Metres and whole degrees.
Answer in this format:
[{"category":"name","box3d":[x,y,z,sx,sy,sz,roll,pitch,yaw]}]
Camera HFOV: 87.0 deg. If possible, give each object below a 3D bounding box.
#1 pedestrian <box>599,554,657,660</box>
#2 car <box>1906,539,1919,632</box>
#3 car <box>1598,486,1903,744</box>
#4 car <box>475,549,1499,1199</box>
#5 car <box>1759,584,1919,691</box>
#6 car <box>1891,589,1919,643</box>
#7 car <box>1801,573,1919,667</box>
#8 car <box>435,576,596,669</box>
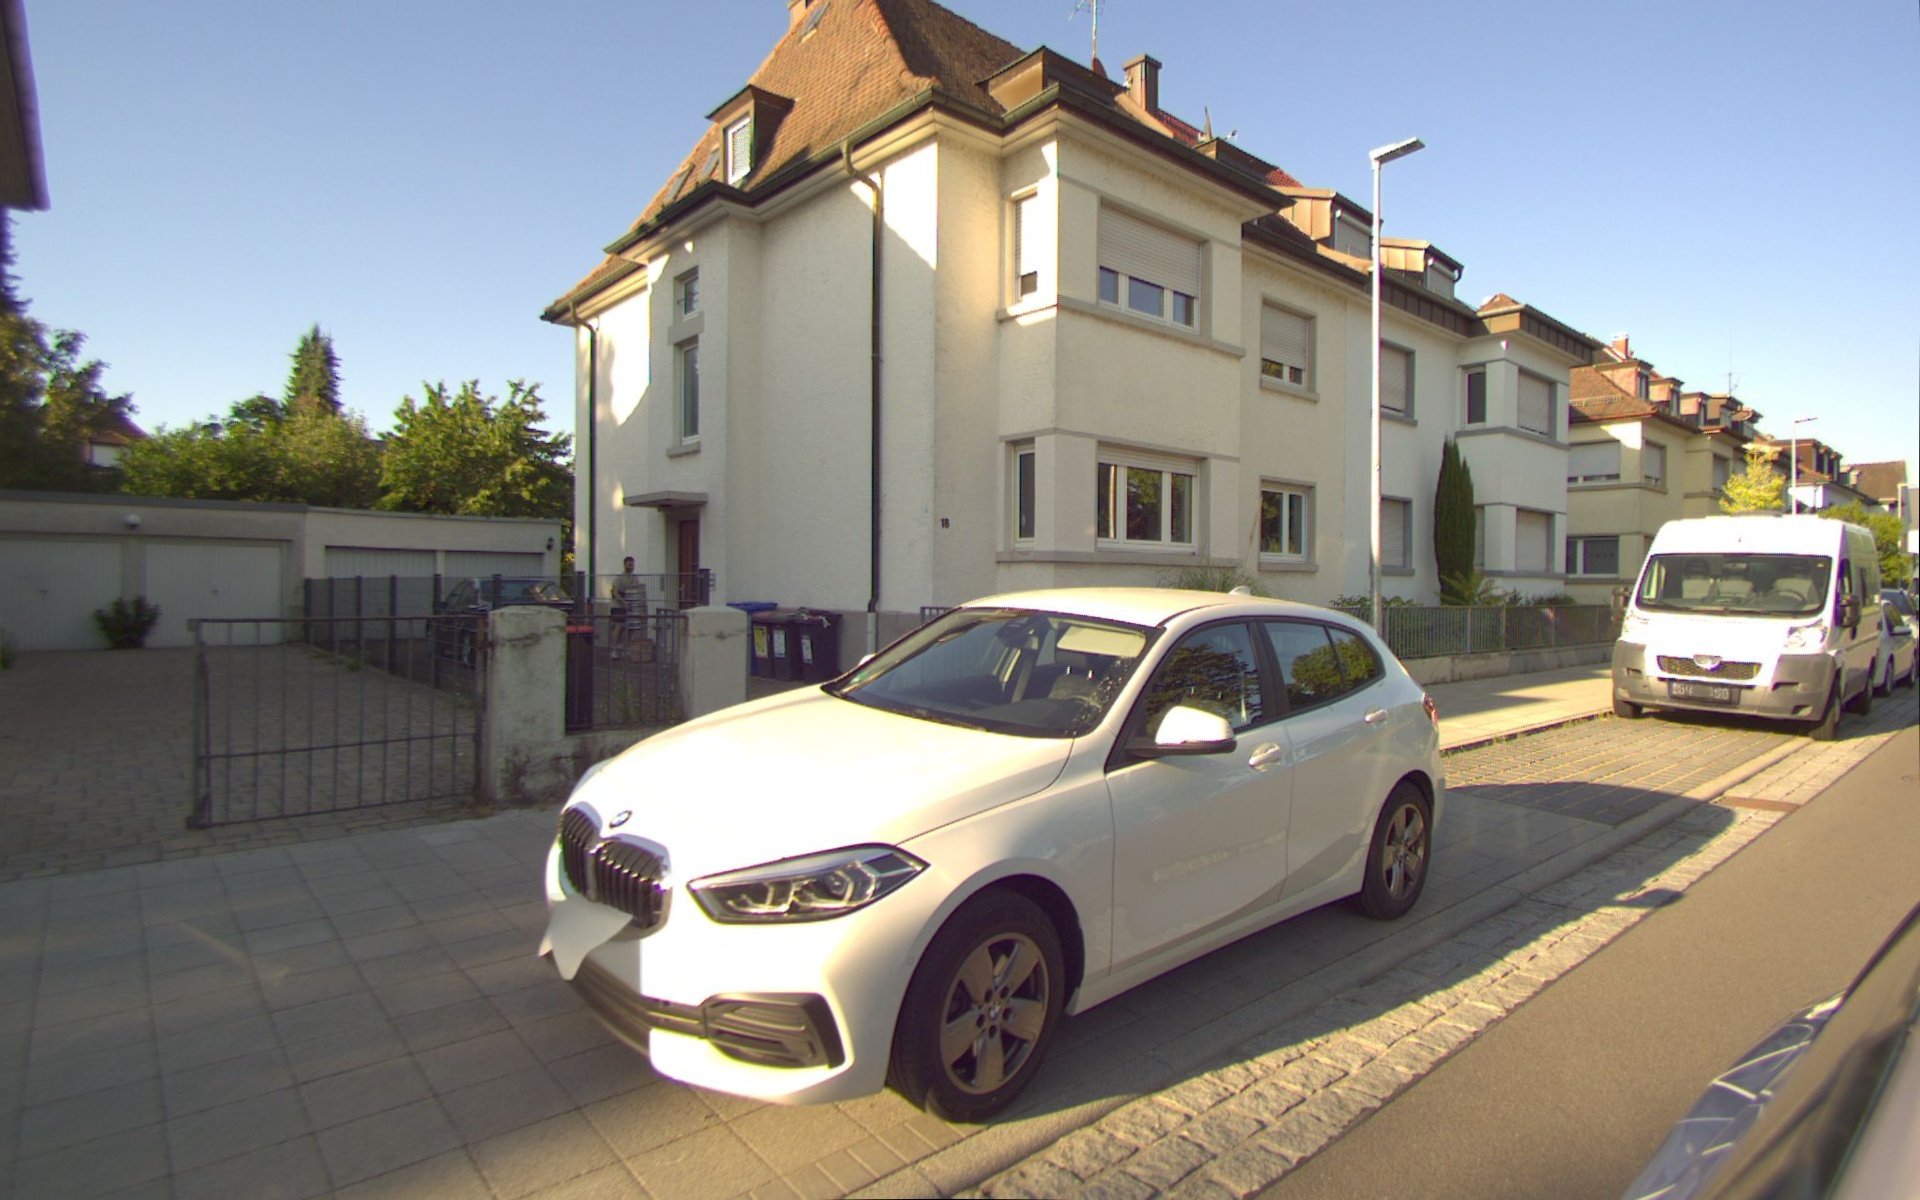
[{"category":"pedestrian","box3d":[-5.745,0.101,17.513,0.702,1.782,0.696,0,2,-42]},{"category":"car","box3d":[32.309,-0.435,32.599,5.882,2.890,2.132,0,0,-41]},{"category":"car","box3d":[10.017,0.107,12.626,5.416,2.549,2.132,0,2,-43]},{"category":"car","box3d":[0.473,0.643,4.217,4.161,1.526,1.786,0,2,-42]},{"category":"car","box3d":[14.410,0.528,16.306,4.035,1.501,1.625,0,1,-40]},{"category":"car","box3d":[27.639,0.415,28.508,3.933,1.457,1.629,0,0,-40]},{"category":"car","box3d":[18.423,0.352,20.256,4.402,1.665,1.781,0,2,-42]},{"category":"car","box3d":[-7.346,0.289,16.542,1.634,1.306,3.834,0,1,-36]}]
